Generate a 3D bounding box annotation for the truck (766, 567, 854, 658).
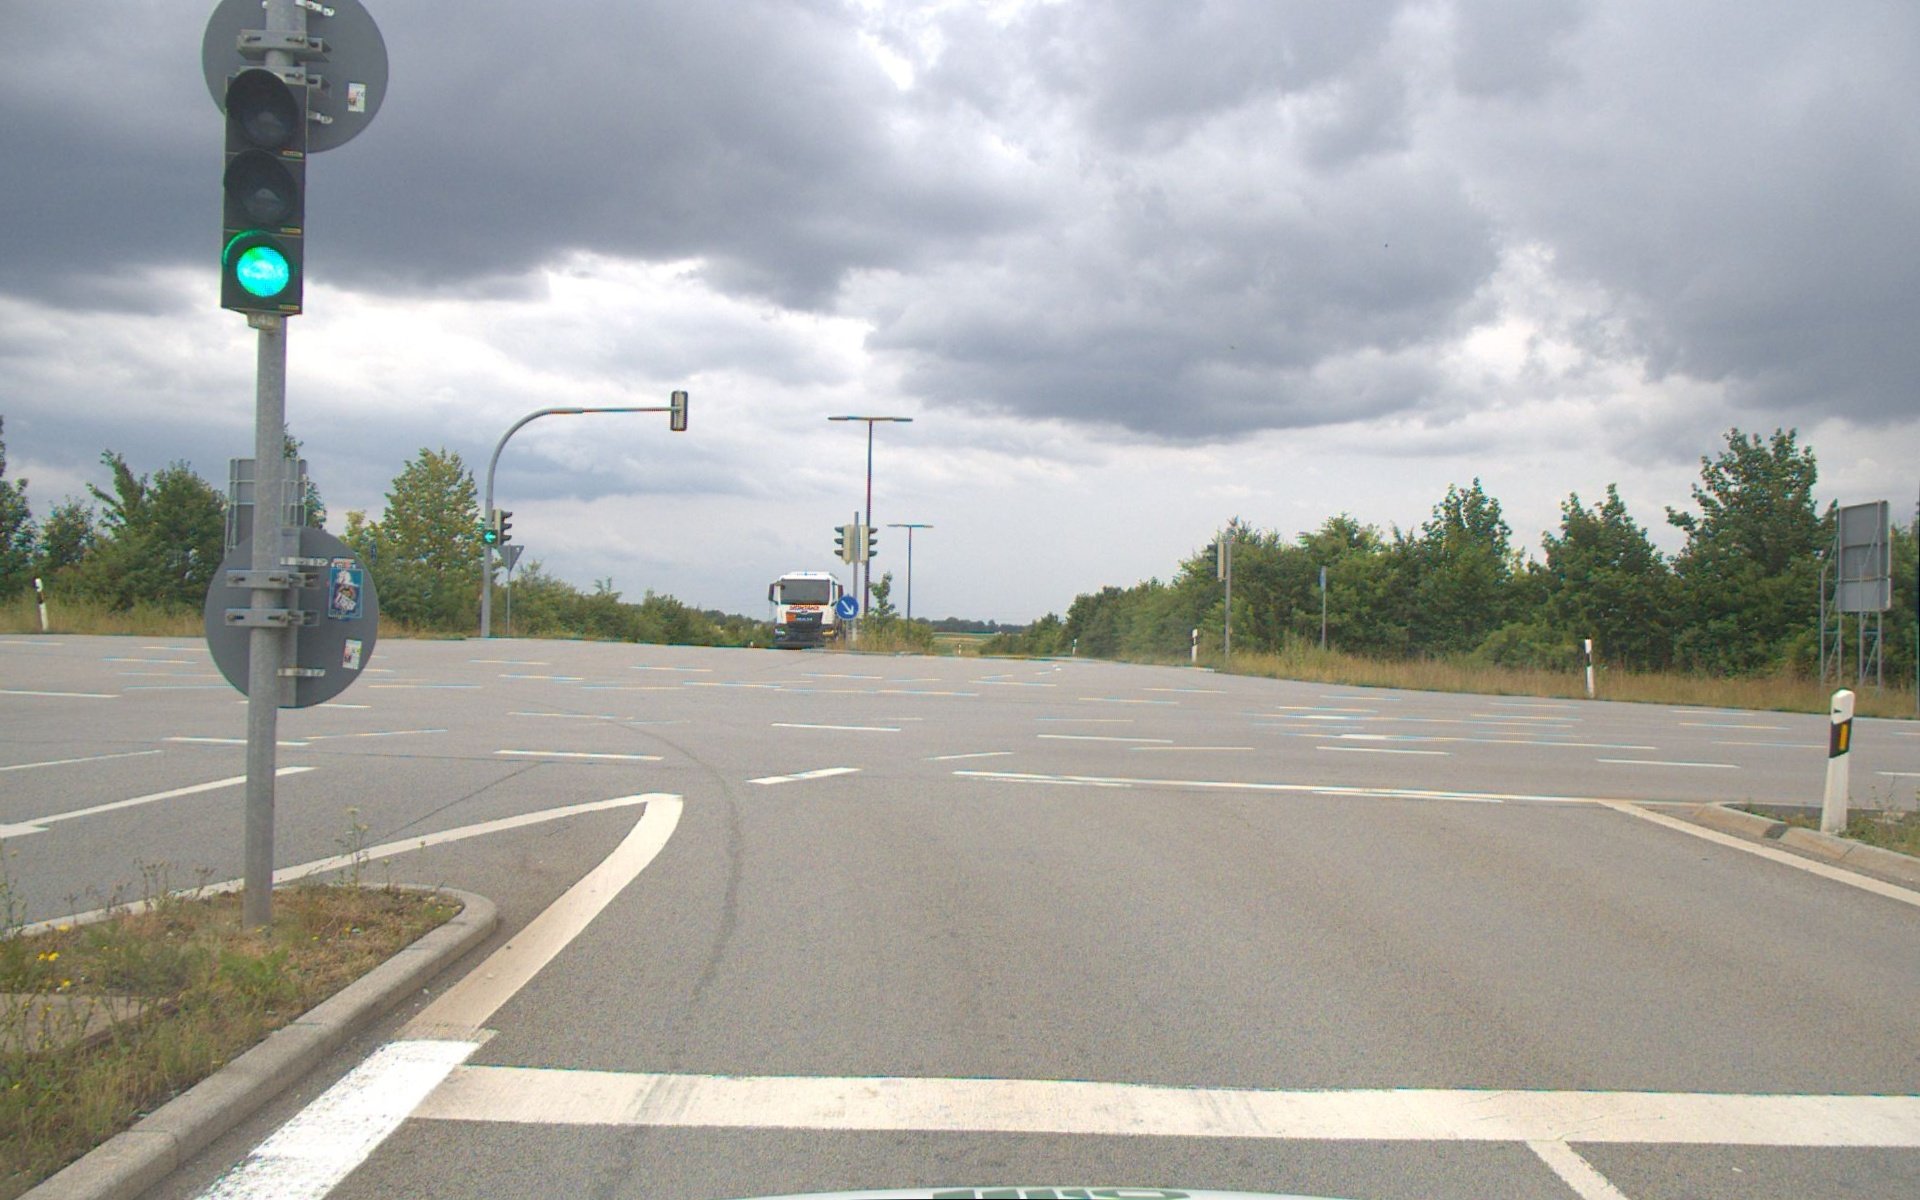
[{"bbox_3d":[-6.058,0.603,68.105,2.811,3.468,8.648,1,-2,0],"label":"truck"}]
